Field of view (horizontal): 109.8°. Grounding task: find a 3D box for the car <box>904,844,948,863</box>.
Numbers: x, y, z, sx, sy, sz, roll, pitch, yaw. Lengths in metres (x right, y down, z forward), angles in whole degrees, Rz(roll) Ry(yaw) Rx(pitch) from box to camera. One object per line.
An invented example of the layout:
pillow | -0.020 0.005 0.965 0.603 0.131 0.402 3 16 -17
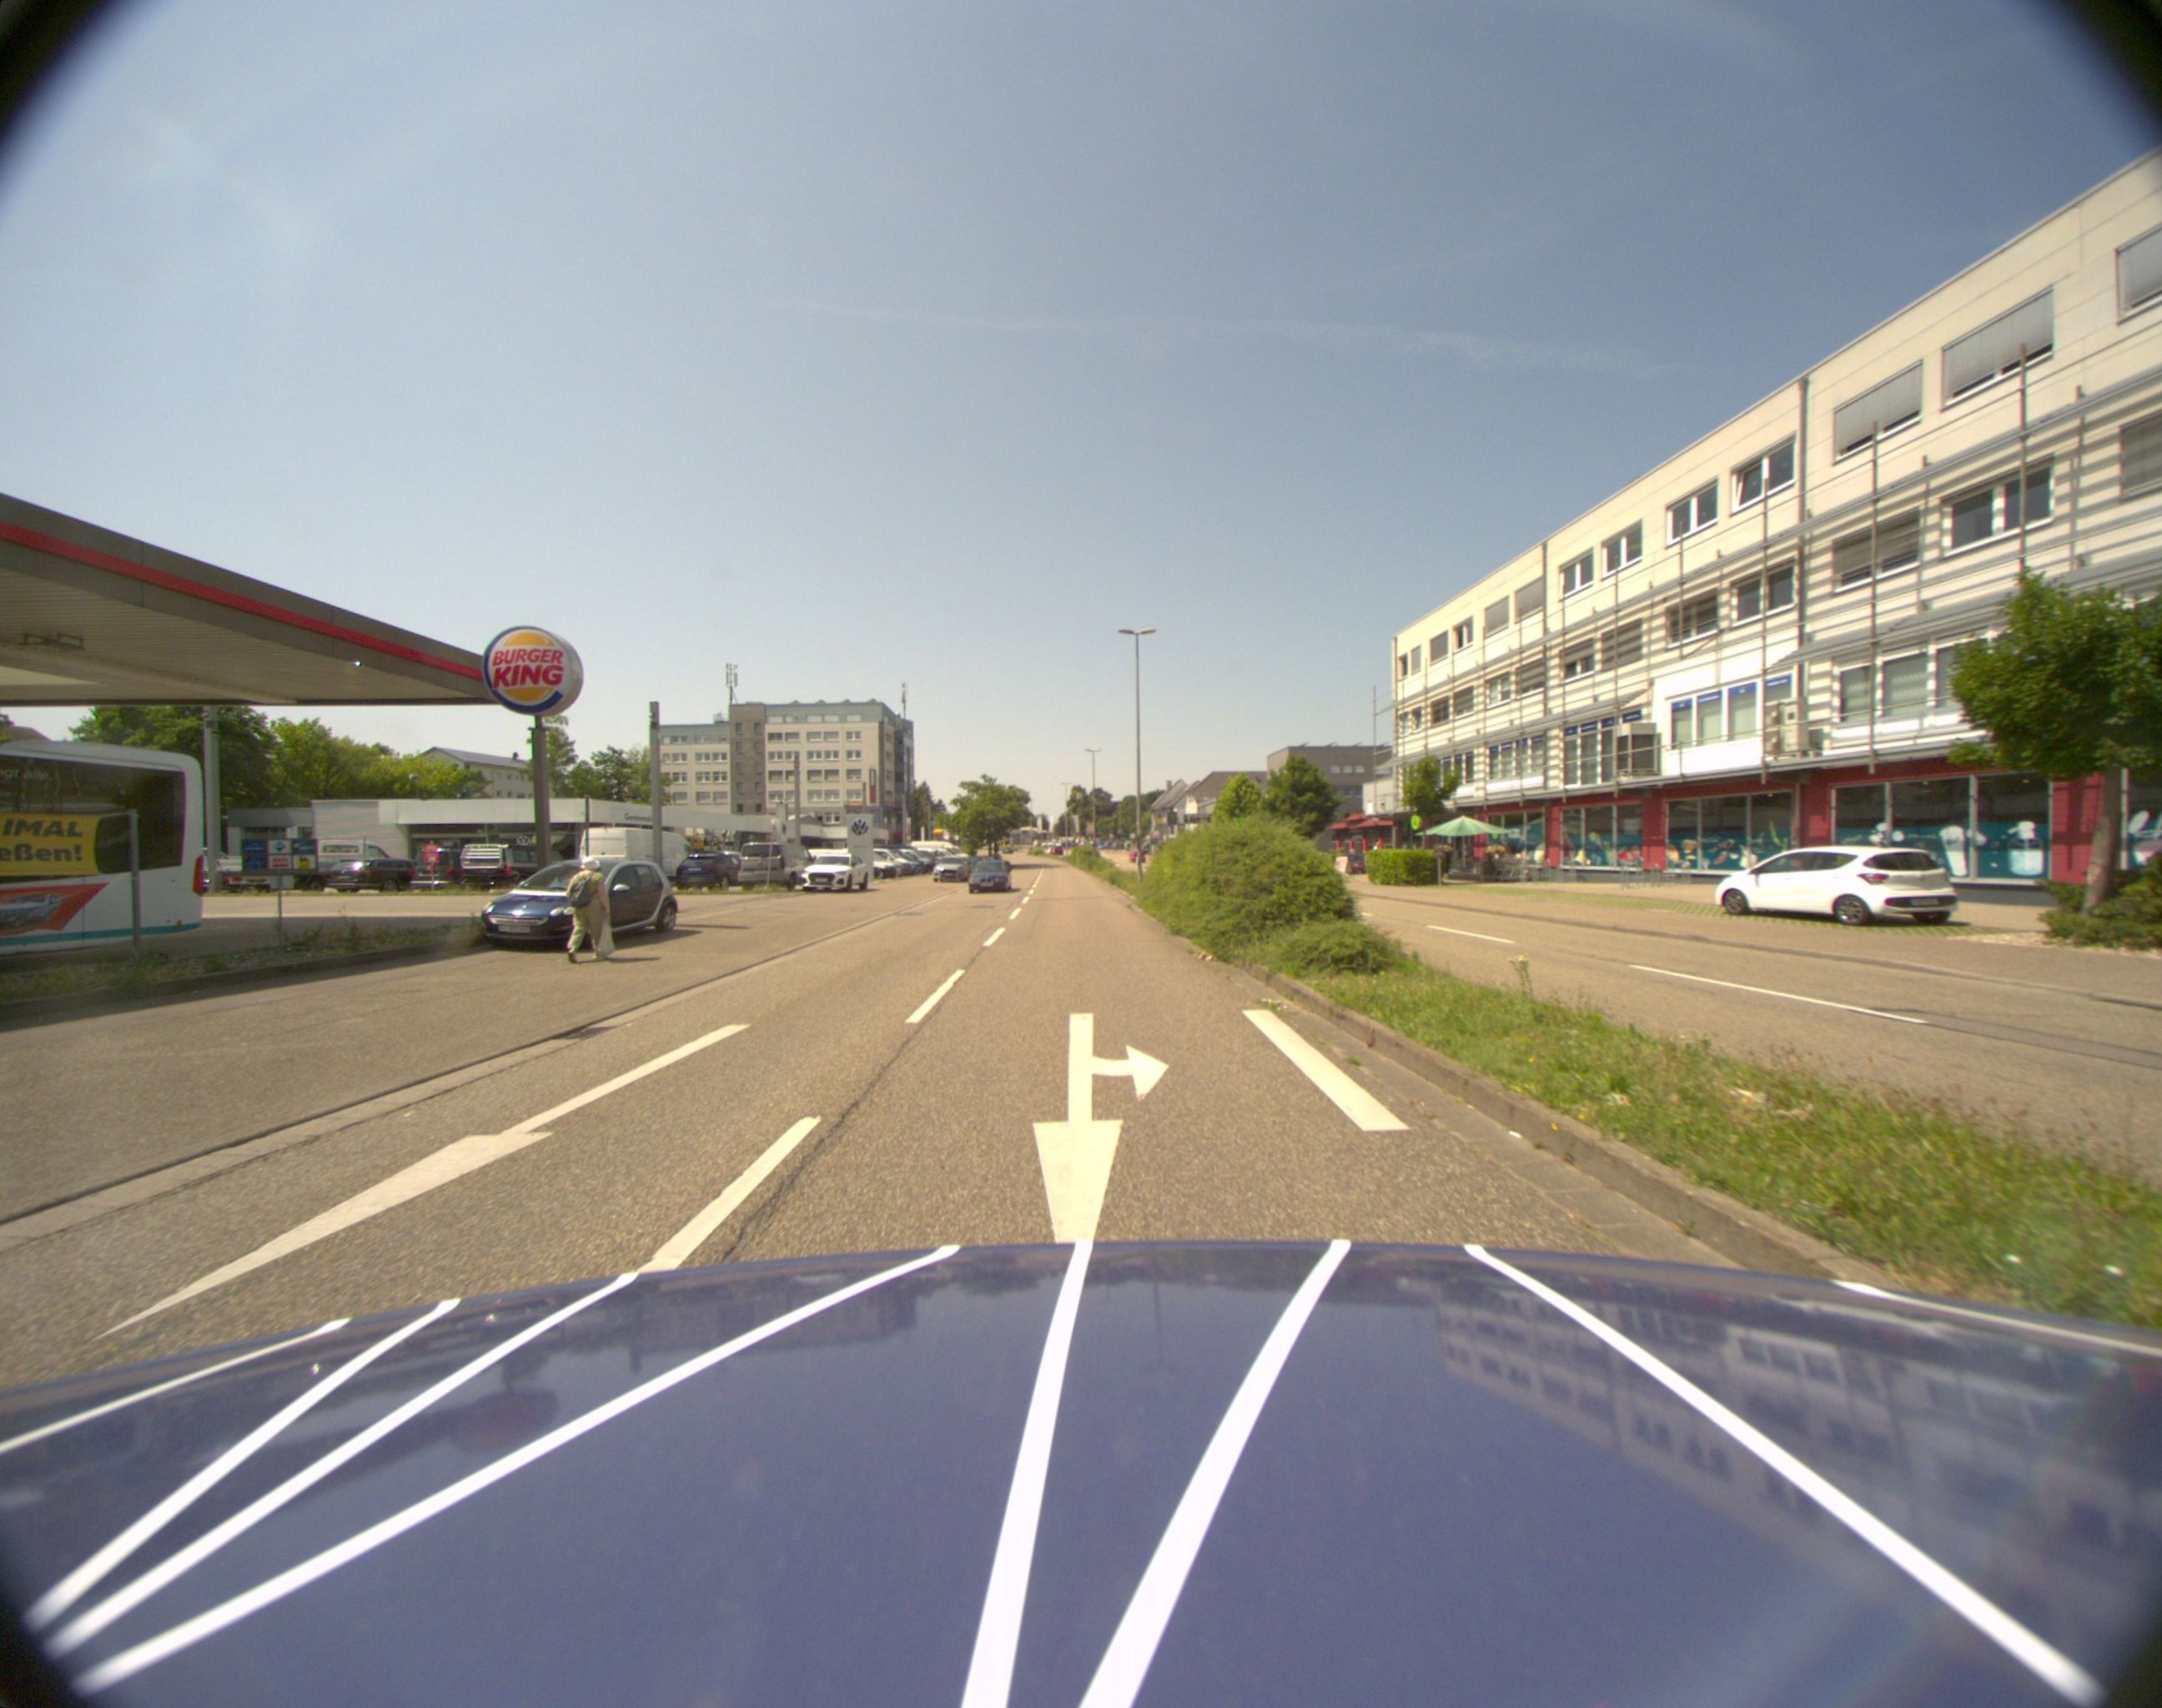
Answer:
car | -15.058 -0.068 73.884 3.999 1.755 1.724 0 1 -7

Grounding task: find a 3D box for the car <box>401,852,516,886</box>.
car | -25.790 0.579 31.644 1.753 1.297 3.781 0 0 -2

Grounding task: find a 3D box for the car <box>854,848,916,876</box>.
car | -13.630 0.526 53.057 3.999 1.906 1.724 0 1 -7

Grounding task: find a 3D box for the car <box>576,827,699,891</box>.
car | -18.003 0.173 31.242 2.058 2.421 5.573 0 0 -3

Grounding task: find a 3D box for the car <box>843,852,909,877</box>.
car | -13.468 0.665 50.144 3.999 1.568 1.724 0 1 -7

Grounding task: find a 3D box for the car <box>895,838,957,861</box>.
car | -17.979 -0.526 88.465 6.889 2.589 1.724 0 1 -7

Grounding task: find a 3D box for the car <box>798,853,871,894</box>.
car | -10.274 0.769 31.924 1.860 1.572 3.999 1 0 -2

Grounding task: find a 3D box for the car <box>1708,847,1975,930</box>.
car | 15.201 0.604 15.499 1.696 1.440 3.664 -2 0 -3

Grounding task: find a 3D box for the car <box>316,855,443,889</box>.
car | -28.543 0.700 31.080 1.753 1.297 3.781 0 0 -2

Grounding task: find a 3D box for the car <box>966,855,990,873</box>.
car | -8.414 0.825 62.236 1.562 1.390 4.214 0 0 -2

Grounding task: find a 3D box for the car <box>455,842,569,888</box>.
car | -23.285 0.407 31.316 1.753 1.783 3.999 0 0 -2

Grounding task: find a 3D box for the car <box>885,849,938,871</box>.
car | -13.566 0.465 61.066 3.999 1.776 1.724 0 1 -7

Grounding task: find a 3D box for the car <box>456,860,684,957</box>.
car | -9.011 0.874 13.833 1.681 1.440 3.839 2 0 -3

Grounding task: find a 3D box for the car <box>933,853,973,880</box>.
car | -7.588 0.707 45.497 1.867 1.550 3.999 0 0 -2

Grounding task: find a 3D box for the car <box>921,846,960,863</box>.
car | -14.811 0.036 80.190 3.999 1.755 1.724 0 1 -7

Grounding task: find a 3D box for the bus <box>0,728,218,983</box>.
bus | -14.691 0.031 7.113 2.756 3.134 9.078 0 0 1

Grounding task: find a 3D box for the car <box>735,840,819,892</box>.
car | -12.566 0.463 31.725 1.999 2.002 3.999 0 0 -2

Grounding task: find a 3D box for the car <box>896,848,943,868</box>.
car | -14.624 0.332 68.975 3.999 1.755 1.724 0 1 -7

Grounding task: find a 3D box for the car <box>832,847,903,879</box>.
car | -13.252 0.538 47.360 3.999 1.907 1.724 0 1 -7

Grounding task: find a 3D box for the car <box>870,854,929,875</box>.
car | -13.201 0.743 55.474 3.999 1.440 1.724 0 1 -7

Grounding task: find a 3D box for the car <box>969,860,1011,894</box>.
car | -3.982 0.962 33.824 1.632 1.331 3.755 -2 0 -4

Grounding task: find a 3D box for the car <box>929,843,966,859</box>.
car | -15.029 -0.340 85.599 3.999 1.755 1.724 0 1 -7

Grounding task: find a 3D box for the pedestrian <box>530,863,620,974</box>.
pedestrian | -7.605 0.941 11.441 0.702 1.572 0.822 3 1 21

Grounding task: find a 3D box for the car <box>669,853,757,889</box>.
car | -15.149 0.653 31.550 1.808 1.368 3.999 0 0 -2

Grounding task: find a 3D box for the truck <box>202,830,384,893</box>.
truck | -31.385 0.260 30.571 2.246 2.308 5.020 0 0 -4

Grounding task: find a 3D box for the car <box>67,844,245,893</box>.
car | -36.836 0.530 30.471 1.999 1.820 4.205 0 0 -1

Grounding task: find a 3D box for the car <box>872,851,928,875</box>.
car | -13.768 0.677 57.981 3.999 1.838 1.724 0 1 -7
